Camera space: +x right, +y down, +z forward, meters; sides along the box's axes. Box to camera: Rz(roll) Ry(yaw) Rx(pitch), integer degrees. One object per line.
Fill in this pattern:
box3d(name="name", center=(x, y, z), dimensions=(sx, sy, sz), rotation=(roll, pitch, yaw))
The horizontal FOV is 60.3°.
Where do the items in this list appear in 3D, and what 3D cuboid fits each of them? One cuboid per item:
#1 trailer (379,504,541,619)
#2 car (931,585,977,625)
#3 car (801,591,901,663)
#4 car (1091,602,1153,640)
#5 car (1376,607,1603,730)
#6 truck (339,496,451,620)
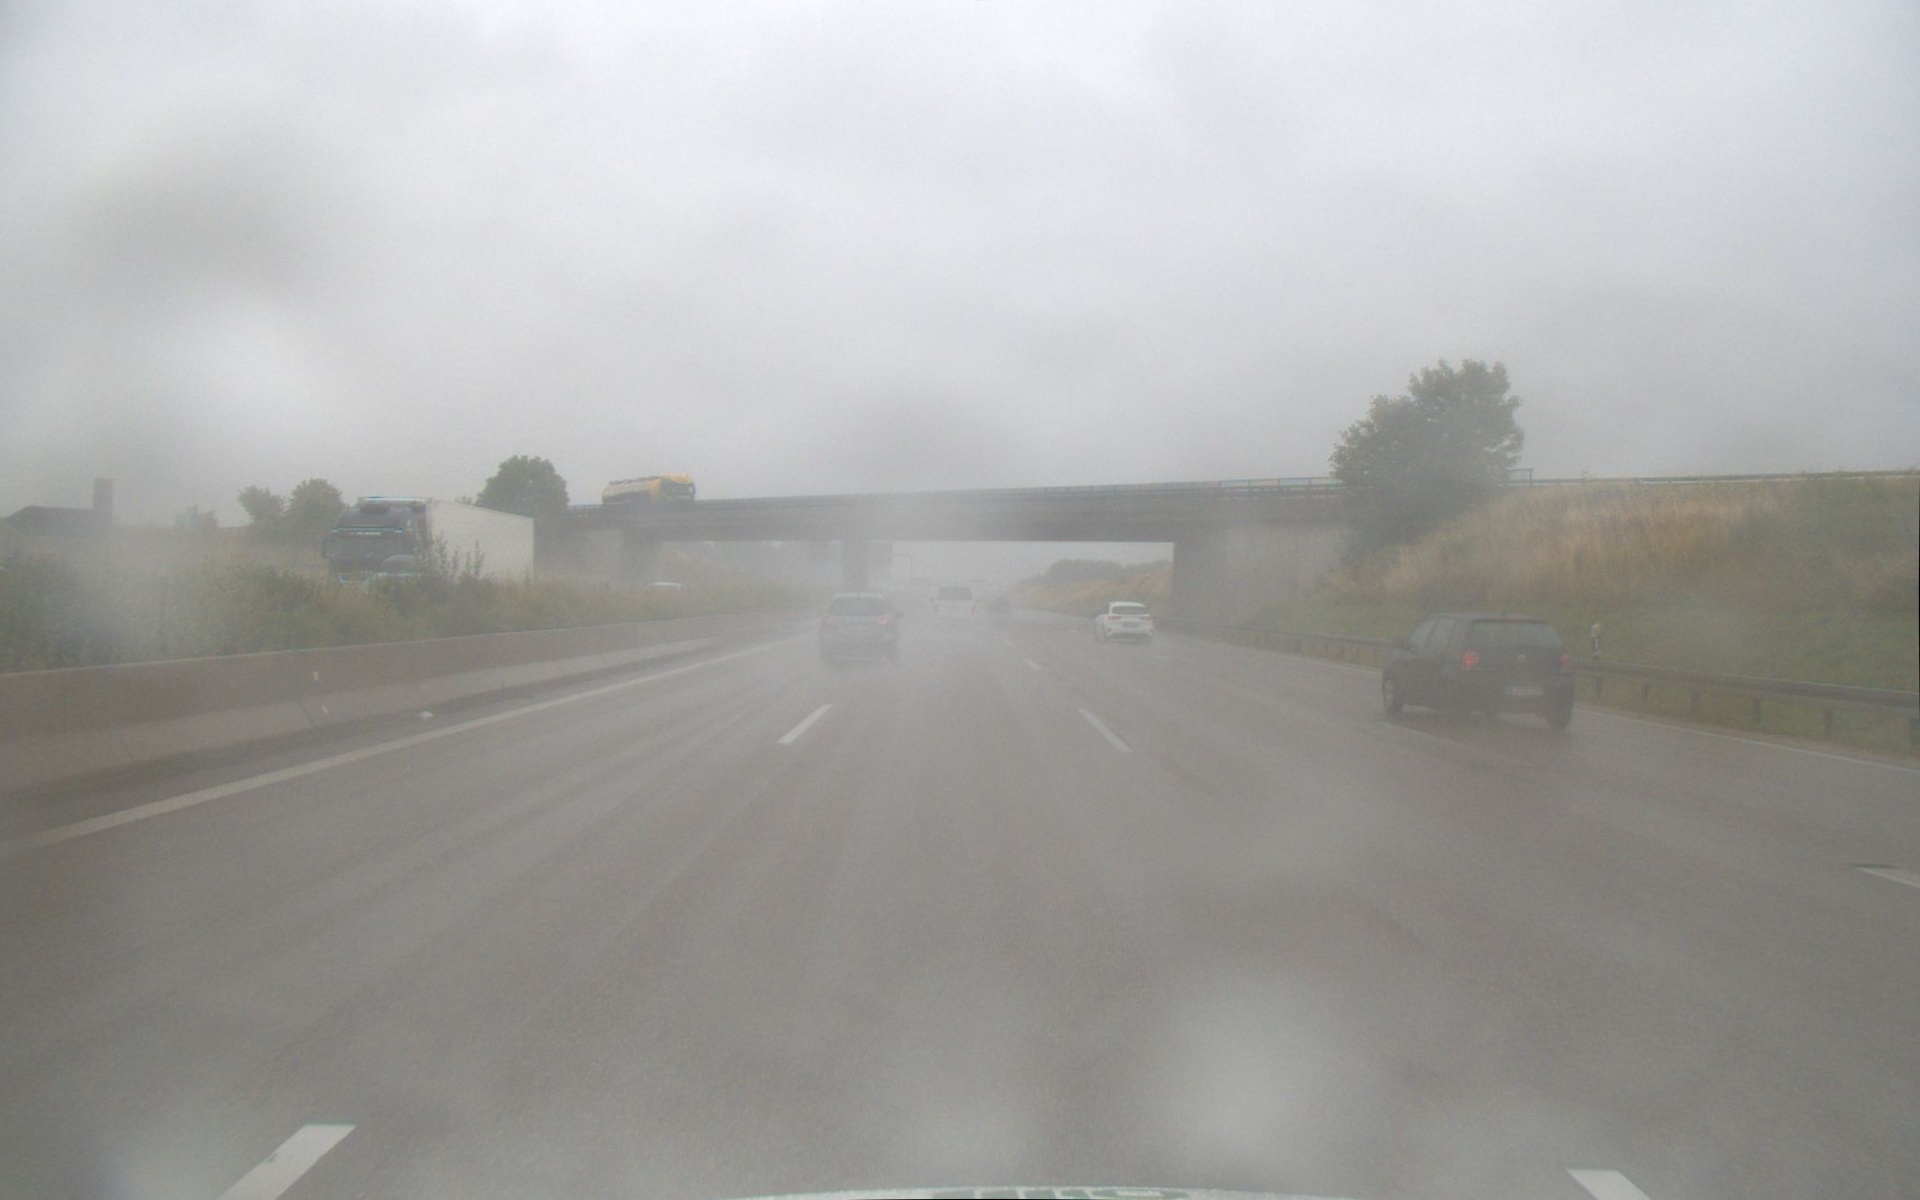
box3d(name="trailer", center=(-18.567, -1.335, 62.569), dimensions=(1.953, 3.831, 13.858), rotation=(1, 0, 0))
box3d(name="car", center=(-0.233, 0.221, 70.141), dimensions=(1.858, 1.613, 4.000), rotation=(1, 0, 0))
box3d(name="car", center=(-2.451, 0.591, 38.377), dimensions=(1.808, 1.539, 4.758), rotation=(1, 0, 2))
box3d(name="car", center=(5.804, 0.756, 59.686), dimensions=(1.952, 1.288, 4.001), rotation=(1, 0, 2))
box3d(name="car", center=(6.960, 0.849, 22.125), dimensions=(1.697, 1.446, 3.656), rotation=(1, 0, -3))
box3d(name="truck", center=(-18.526, -1.337, 54.497), dimensions=(1.953, 3.847, 4.813), rotation=(1, 0, 0))
